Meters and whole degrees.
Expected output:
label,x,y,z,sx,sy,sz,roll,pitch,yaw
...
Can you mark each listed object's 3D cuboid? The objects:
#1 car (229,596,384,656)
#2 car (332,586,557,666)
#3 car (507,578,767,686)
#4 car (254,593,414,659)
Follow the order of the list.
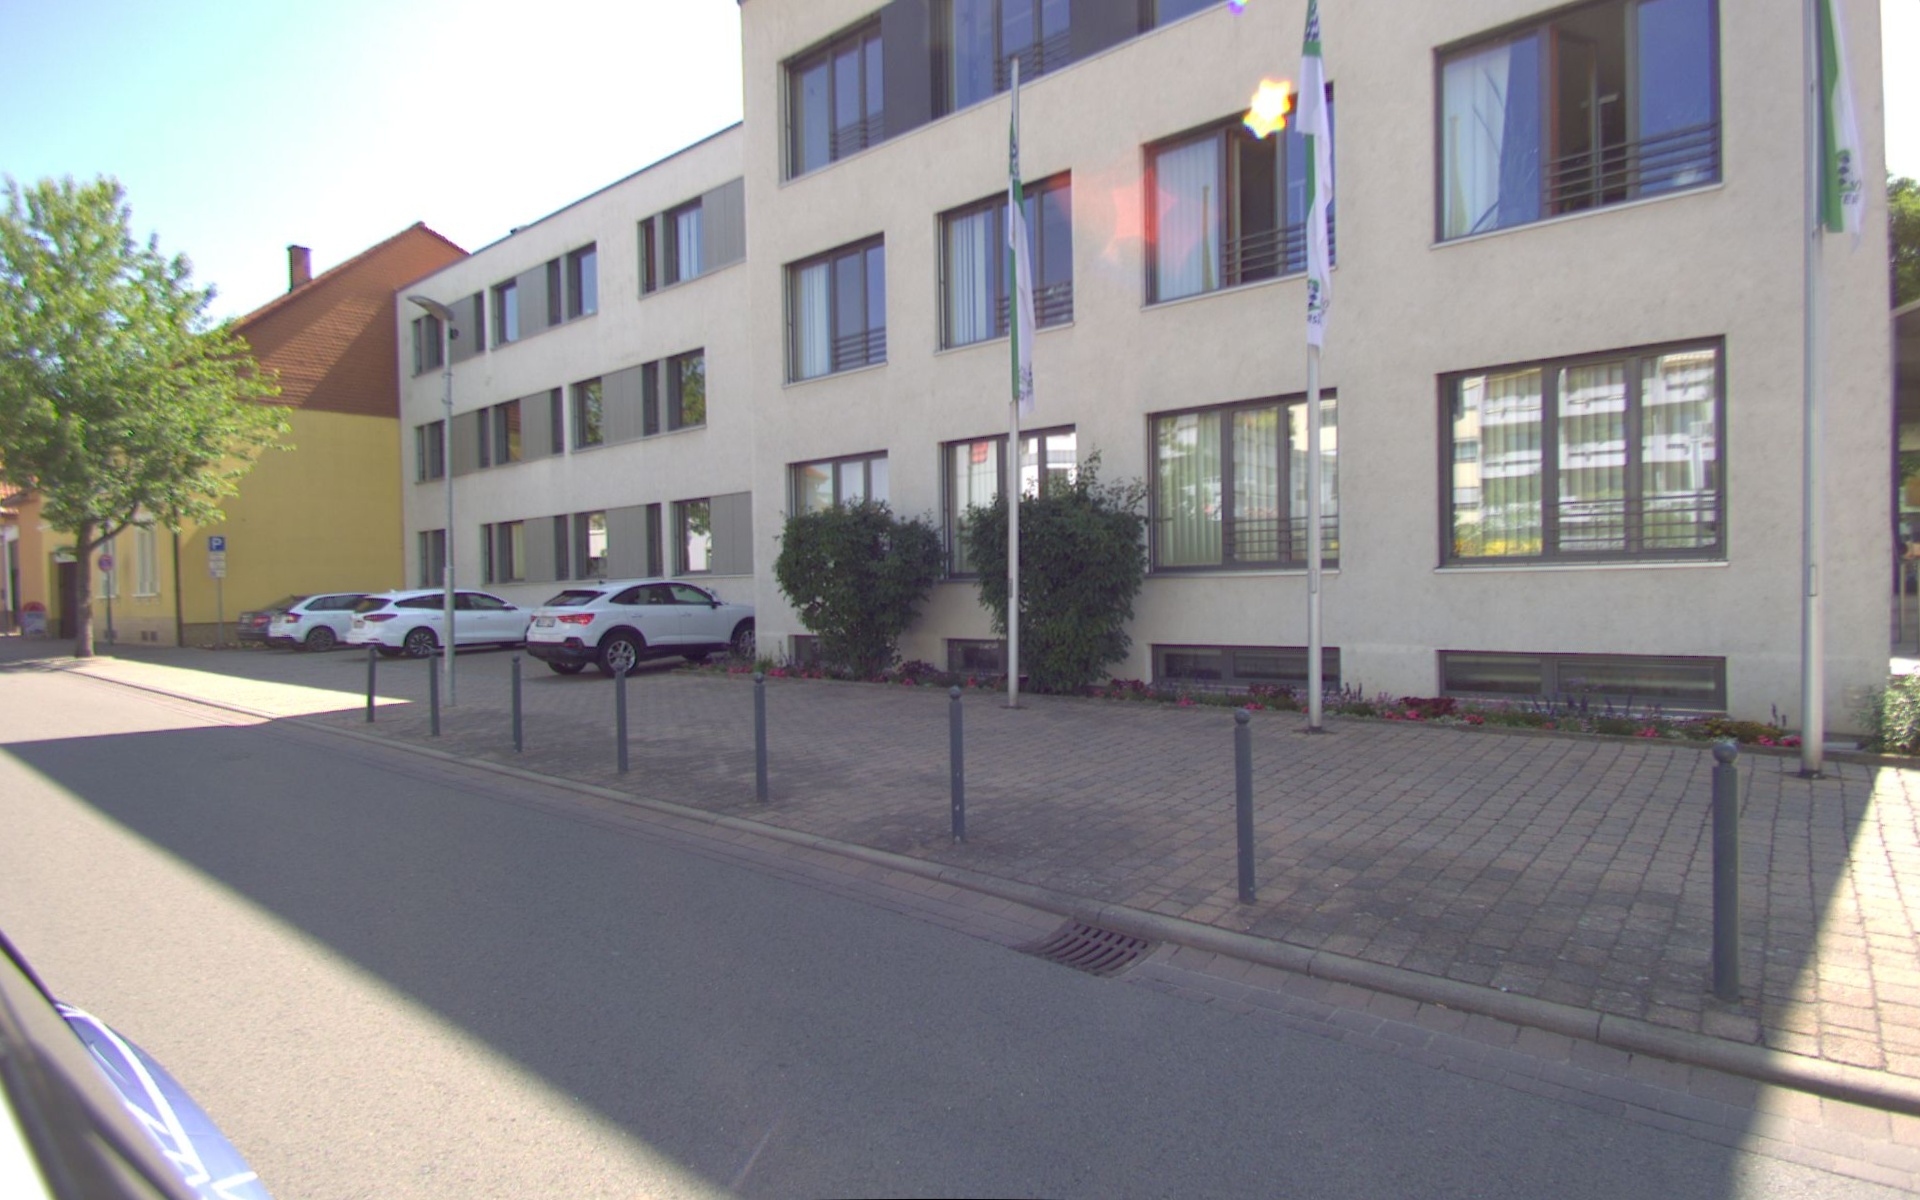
label,x,y,z,sx,sy,sz,roll,pitch,yaw
car,-17.615,0.652,27.367,1.373,1.412,3.218,-1,2,38
car,-11.599,0.521,23.032,1.512,1.489,4.270,0,2,40
car,-5.459,0.458,17.498,1.747,1.559,3.949,-1,2,38
car,-15.962,0.617,25.901,1.642,1.461,3.099,-1,2,41
